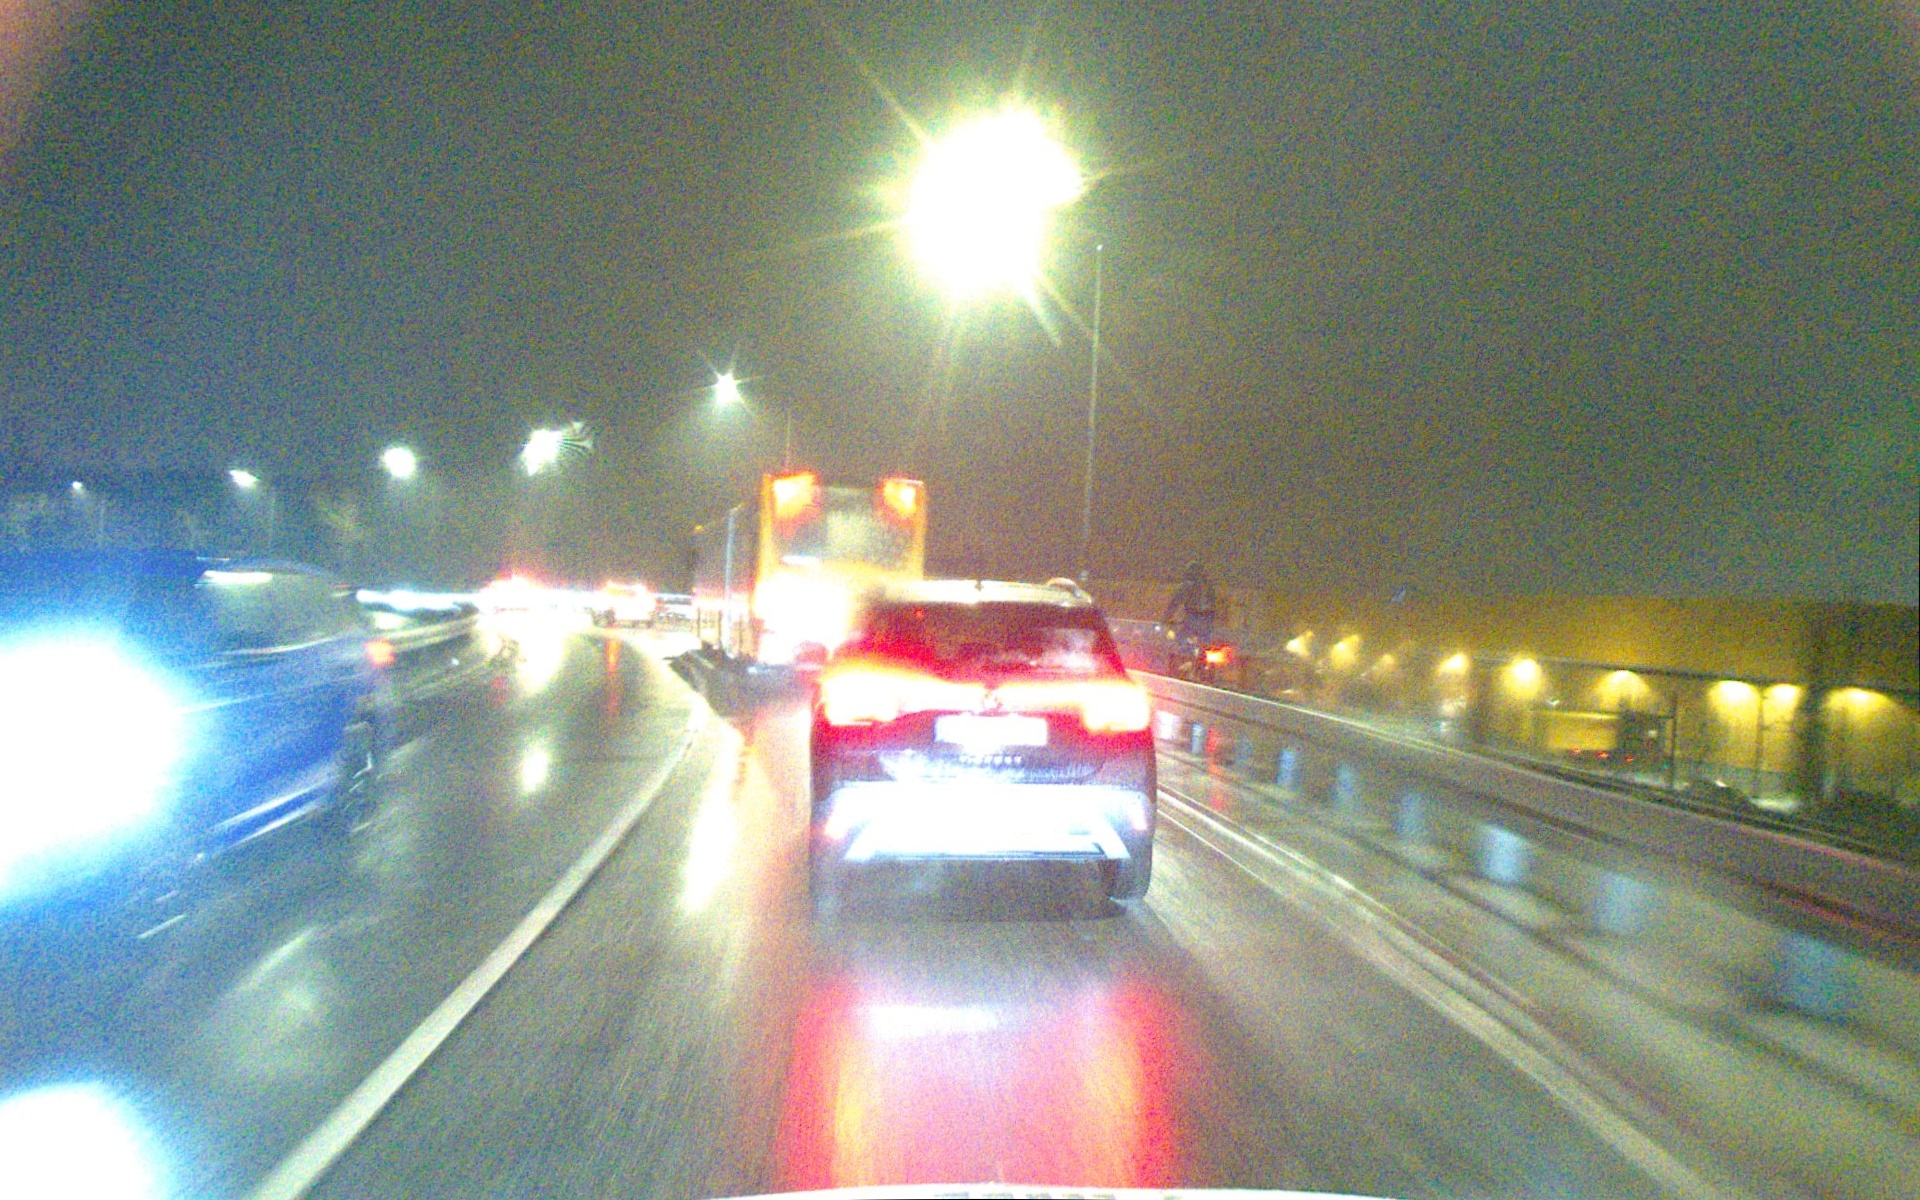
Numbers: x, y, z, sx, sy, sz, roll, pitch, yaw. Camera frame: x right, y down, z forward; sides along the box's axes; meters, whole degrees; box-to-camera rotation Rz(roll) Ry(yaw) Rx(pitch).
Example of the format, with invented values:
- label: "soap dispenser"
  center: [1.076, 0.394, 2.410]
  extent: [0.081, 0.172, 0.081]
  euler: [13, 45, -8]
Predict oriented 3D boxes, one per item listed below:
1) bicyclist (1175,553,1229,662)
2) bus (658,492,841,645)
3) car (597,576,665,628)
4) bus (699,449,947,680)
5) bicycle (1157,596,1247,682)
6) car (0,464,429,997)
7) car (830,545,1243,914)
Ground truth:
- label: "bicyclist"
  center: [3.103, 0.090, 21.249]
  extent: [0.444, 1.373, 0.762]
  euler: [2, 0, -10]
- label: "bus"
  center: [-5.229, -0.702, 39.553]
  extent: [3.000, 3.186, 8.041]
  euler: [2, 0, -17]
- label: "car"
  center: [-11.642, 0.081, 58.376]
  extent: [1.614, 1.685, 3.682]
  euler: [-1, -2, -23]
- label: "bus"
  center: [-2.876, -0.564, 29.324]
  extent: [3.028, 3.187, 12.663]
  euler: [0, 1, -11]
- label: "bicycle"
  center: [3.091, 0.476, 21.281]
  extent: [0.475, 1.052, 2.166]
  euler: [1, 0, -10]
- label: "car"
  center: [-4.227, 0.415, 7.830]
  extent: [1.982, 1.749, 4.979]
  euler: [0, 0, -2]
- label: "car"
  center: [0.247, 0.582, 9.333]
  extent: [1.819, 1.614, 3.998]
  euler: [1, 0, -3]
